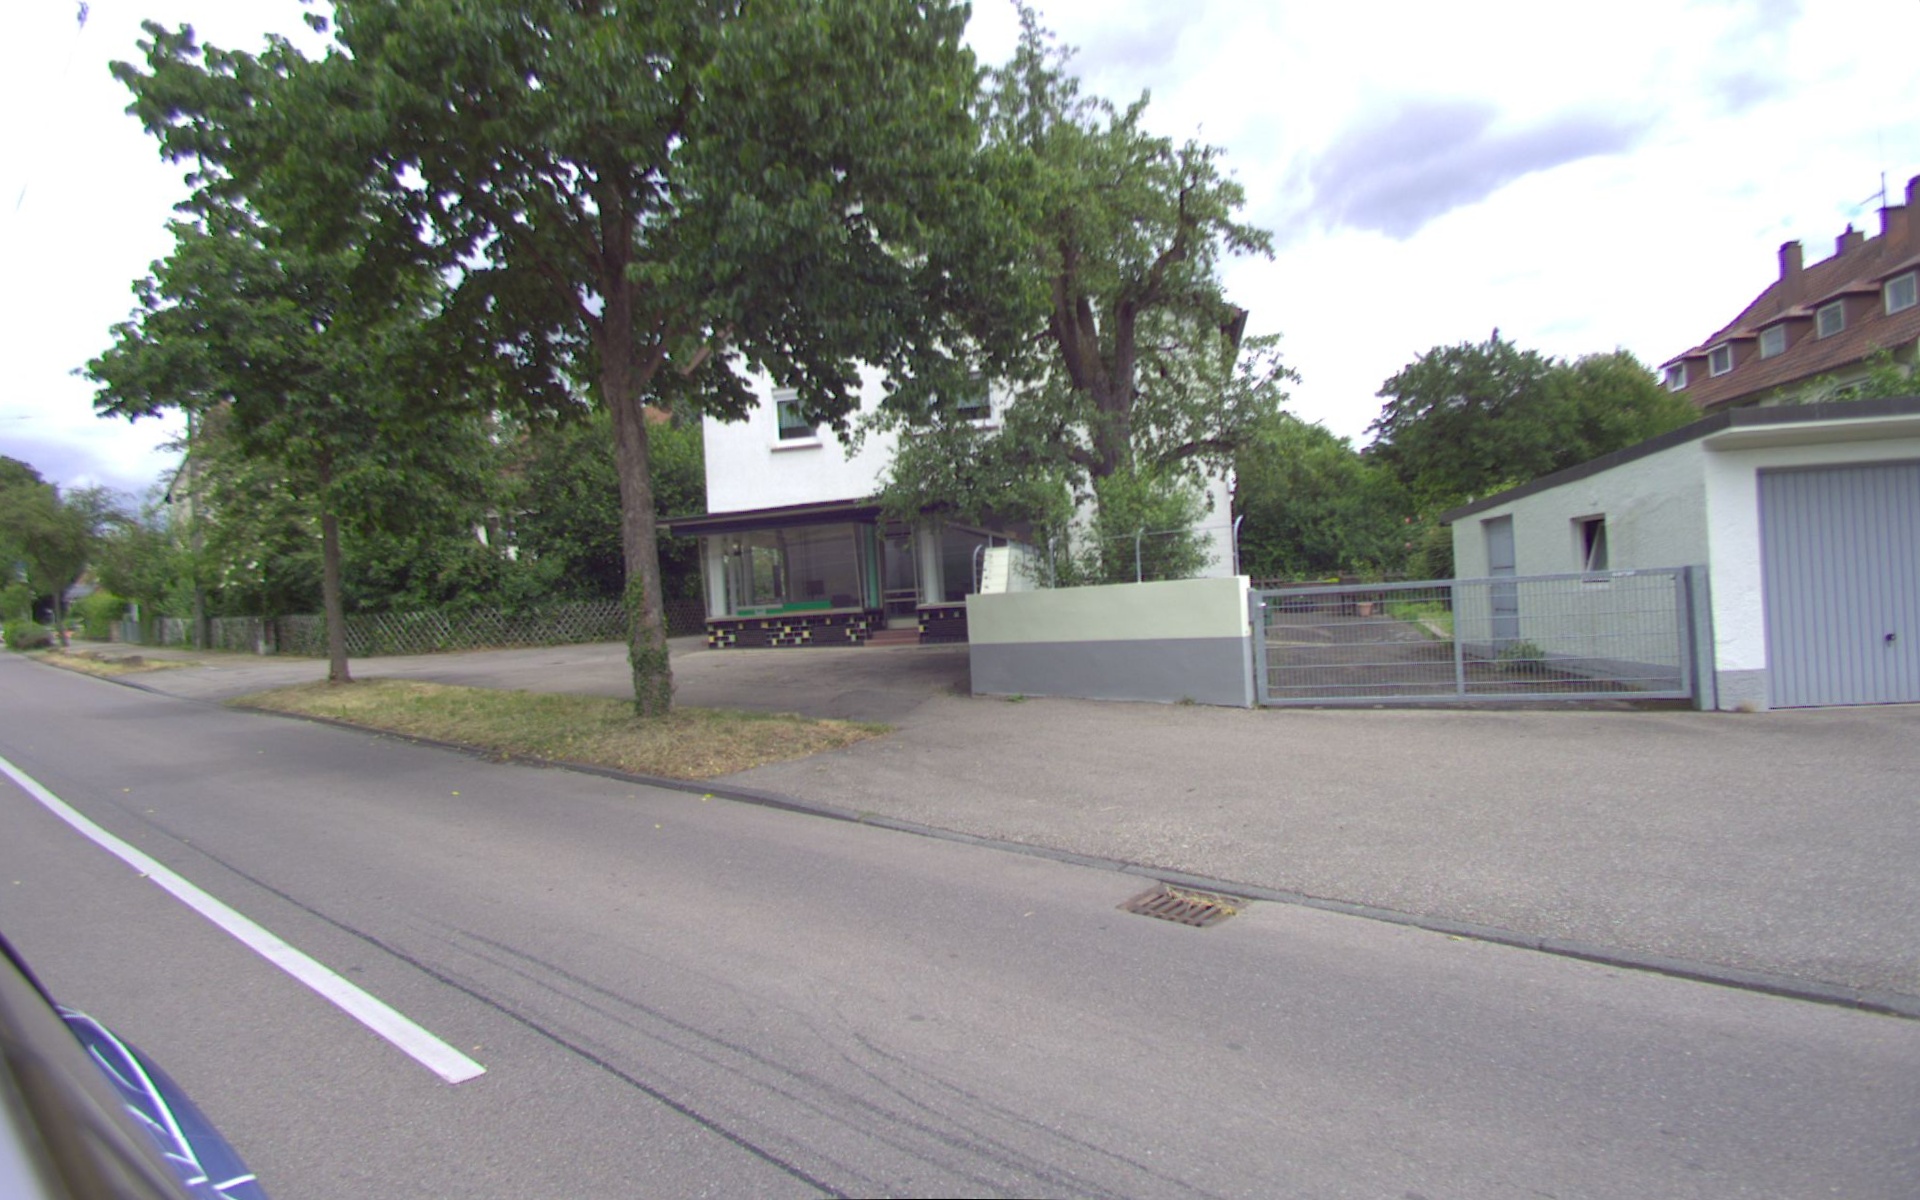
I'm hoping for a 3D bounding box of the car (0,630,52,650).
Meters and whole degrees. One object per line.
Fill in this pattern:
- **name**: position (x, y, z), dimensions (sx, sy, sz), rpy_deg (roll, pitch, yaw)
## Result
- **car**: position (-78.373, 3.330, 84.198), dimensions (1.840, 1.483, 3.862), rpy_deg (-4, -1, 32)
